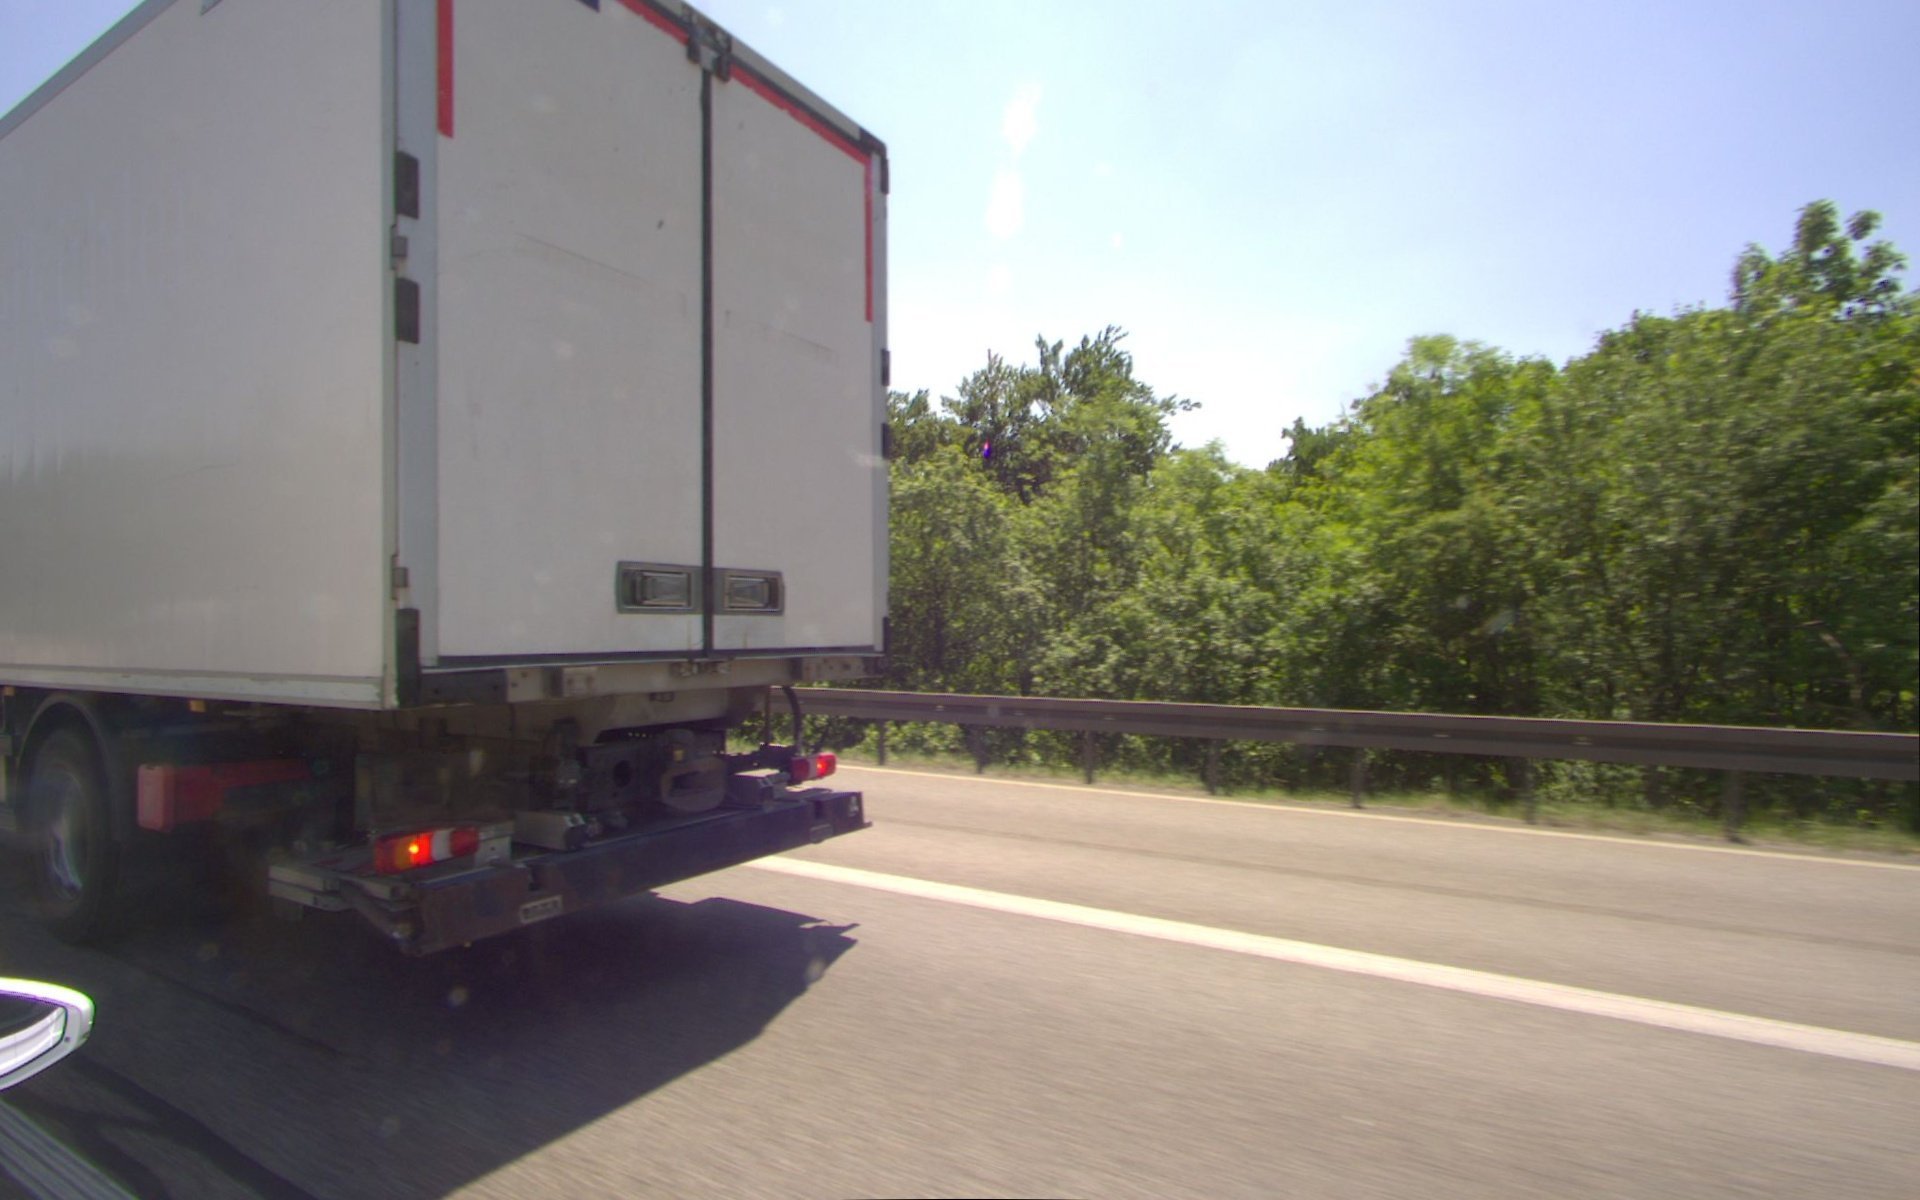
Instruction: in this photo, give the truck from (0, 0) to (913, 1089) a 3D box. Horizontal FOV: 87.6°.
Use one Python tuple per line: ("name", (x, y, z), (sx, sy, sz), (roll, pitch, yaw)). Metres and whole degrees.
("truck", (-5.064, -0.490, 6.637), (9.640, 3.929, 2.681), (-1, 2, 32))
